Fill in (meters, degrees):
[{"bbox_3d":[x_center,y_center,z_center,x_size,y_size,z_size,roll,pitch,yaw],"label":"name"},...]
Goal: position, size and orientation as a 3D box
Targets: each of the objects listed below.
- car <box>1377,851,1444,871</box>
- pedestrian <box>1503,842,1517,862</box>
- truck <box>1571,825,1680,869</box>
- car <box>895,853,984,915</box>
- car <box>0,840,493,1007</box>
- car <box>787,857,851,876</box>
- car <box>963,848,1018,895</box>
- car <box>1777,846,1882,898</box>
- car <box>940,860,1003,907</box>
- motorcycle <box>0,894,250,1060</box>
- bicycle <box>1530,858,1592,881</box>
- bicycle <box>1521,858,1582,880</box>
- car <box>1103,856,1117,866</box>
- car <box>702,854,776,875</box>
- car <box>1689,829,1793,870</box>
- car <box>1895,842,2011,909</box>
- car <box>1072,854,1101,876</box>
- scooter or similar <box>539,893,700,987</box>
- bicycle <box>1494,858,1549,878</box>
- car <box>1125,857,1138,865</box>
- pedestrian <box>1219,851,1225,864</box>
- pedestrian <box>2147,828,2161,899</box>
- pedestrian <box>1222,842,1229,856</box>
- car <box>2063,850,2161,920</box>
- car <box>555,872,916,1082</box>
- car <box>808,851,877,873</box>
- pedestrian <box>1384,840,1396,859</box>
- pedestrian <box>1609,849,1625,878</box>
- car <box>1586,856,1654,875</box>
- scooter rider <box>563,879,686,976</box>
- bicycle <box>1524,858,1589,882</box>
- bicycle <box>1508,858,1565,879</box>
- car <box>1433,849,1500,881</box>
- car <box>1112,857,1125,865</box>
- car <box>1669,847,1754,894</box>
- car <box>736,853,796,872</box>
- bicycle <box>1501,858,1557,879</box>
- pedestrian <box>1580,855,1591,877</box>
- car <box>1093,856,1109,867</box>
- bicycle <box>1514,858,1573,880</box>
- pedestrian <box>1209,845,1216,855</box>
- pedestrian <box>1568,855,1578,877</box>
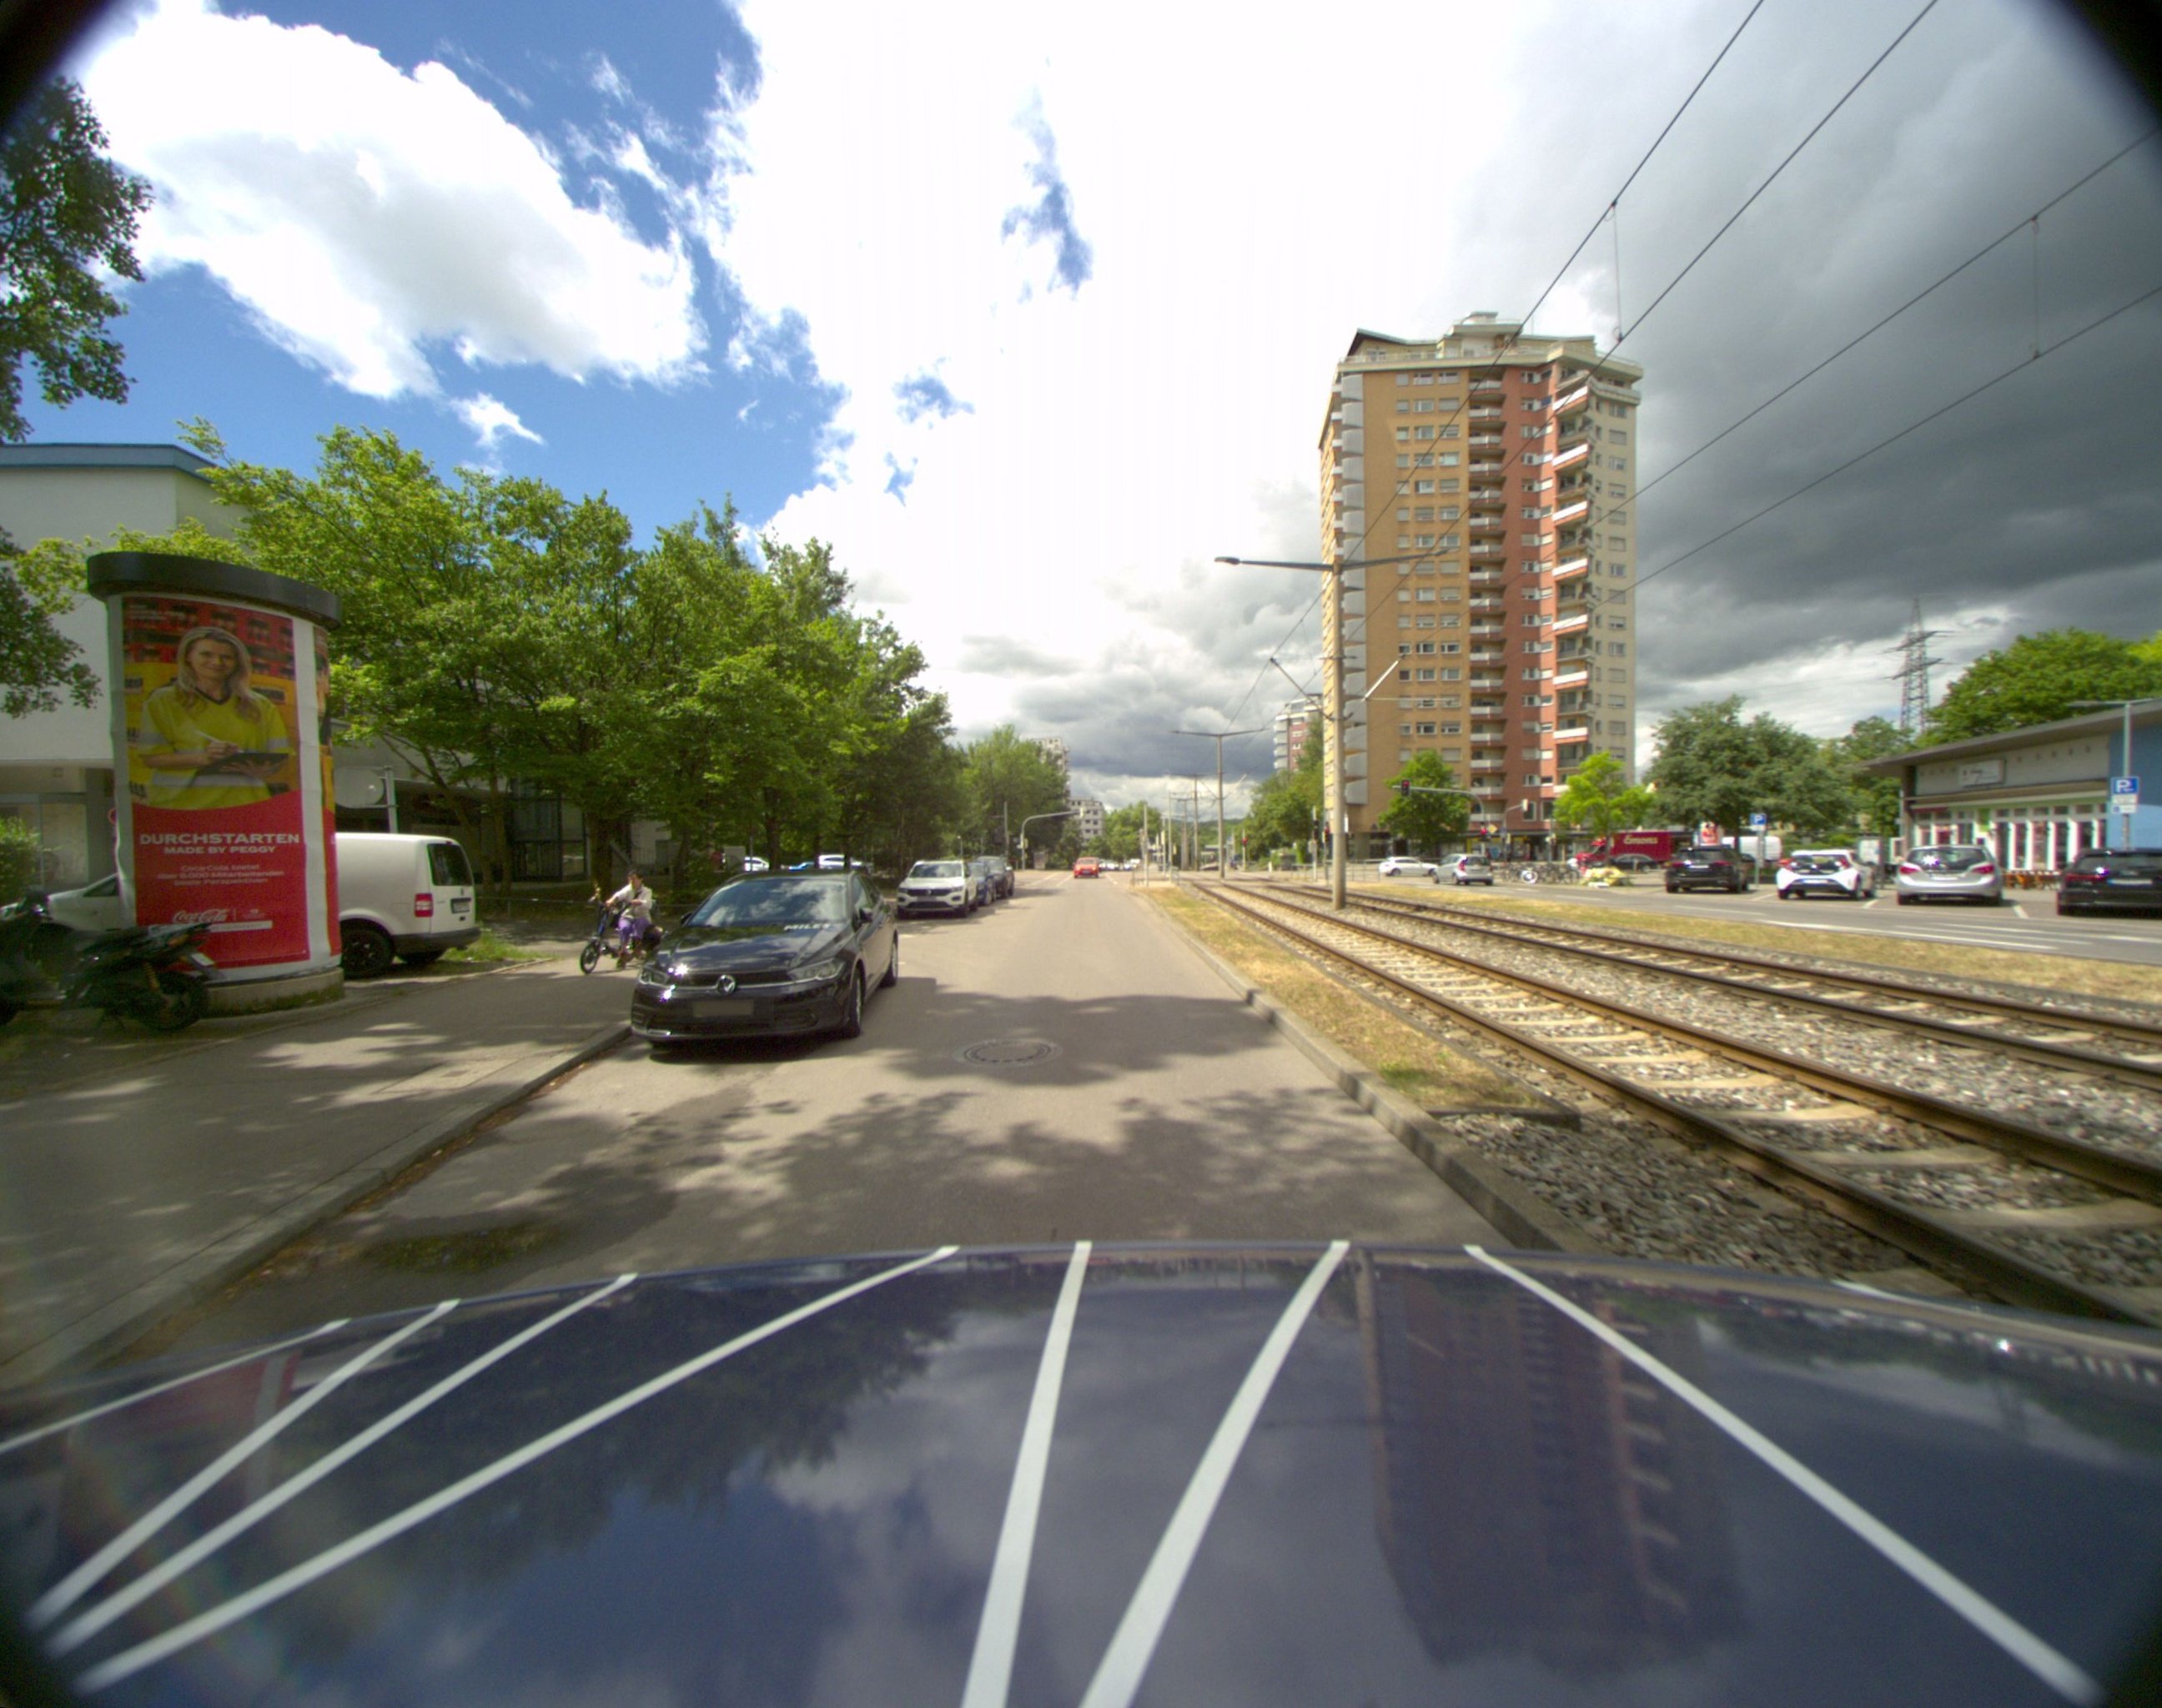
[{"bbox_3d":[24.660,0.517,57.057,4.270,1.442,1.796,0,0,5],"label":"car"},{"bbox_3d":[38.783,-0.180,68.666,0.889,1.801,0.641,0,0,-22],"label":"pedestrian"},{"bbox_3d":[46.149,-0.598,64.614,7.089,3.653,2.549,0,0,10],"label":"truck"},{"bbox_3d":[-3.840,0.758,21.323,1.788,1.556,4.568,0,0,-2],"label":"car"},{"bbox_3d":[-10.263,0.762,9.694,4.004,1.812,1.807,0,0,-21],"label":"car"},{"bbox_3d":[-18.774,0.879,54.631,3.970,1.218,1.912,0,3,-3],"label":"car"},{"bbox_3d":[-3.541,0.649,30.567,1.648,1.752,4.569,0,0,0],"label":"car"},{"bbox_3d":[23.069,0.521,23.396,3.774,1.487,1.742,0,0,-37],"label":"car"},{"bbox_3d":[-3.674,0.957,26.075,1.648,1.449,4.075,0,0,-1],"label":"car"},{"bbox_3d":[-8.090,0.950,6.089,1.802,1.203,0.711,0,0,-20],"label":"motorcycle"},{"bbox_3d":[22.858,0.715,36.206,2.432,1.060,0.705,0,0,4],"label":"bicycle"},{"bbox_3d":[22.882,0.717,36.978,2.432,1.060,0.705,0,0,4],"label":"bicycle"},{"bbox_3d":[3.885,0.935,100.145,1.605,1.207,3.773,0,0,6],"label":"car"},{"bbox_3d":[-24.446,0.747,54.385,4.402,1.407,1.950,0,3,-5],"label":"car"},{"bbox_3d":[54.384,-0.363,62.768,6.294,3.280,2.002,0,0,12],"label":"car"},{"bbox_3d":[23.398,0.535,20.510,4.009,1.622,1.901,0,0,-43],"label":"car"},{"bbox_3d":[0.455,0.746,54.196,1.818,1.483,4.000,-1,1,4],"label":"car"},{"bbox_3d":[-6.180,1.111,10.356,0.892,1.058,2.114,0,-1,0],"label":"scooter or similar"},{"bbox_3d":[23.234,0.728,40.089,2.432,1.060,0.705,0,0,4],"label":"bicycle"},{"bbox_3d":[7.107,0.982,107.143,1.805,1.207,4.023,0,0,5],"label":"car"},{"bbox_3d":[20.492,0.483,110.454,0.770,1.920,0.573,0,0,3],"label":"pedestrian"},{"bbox_3d":[28.246,0.244,19.641,0.893,1.811,0.769,-1,1,-38],"label":"pedestrian"},{"bbox_3d":[19.751,-0.679,103.579,0.865,1.763,0.747,0,0,4],"label":"pedestrian"},{"bbox_3d":[22.729,0.627,16.340,4.008,1.375,1.901,0,0,-38],"label":"car"},{"bbox_3d":[-2.912,0.935,7.406,1.820,1.440,3.826,0,0,-1],"label":"car"},{"bbox_3d":[-18.083,0.592,57.714,4.654,1.583,1.922,0,3,-3],"label":"car"},{"bbox_3d":[31.344,-0.447,77.020,0.920,1.923,0.854,0,0,4],"label":"pedestrian"},{"bbox_3d":[29.986,0.531,42.509,0.417,1.633,0.601,0,0,1],"label":"pedestrian"},{"bbox_3d":[43.606,0.954,61.578,3.993,1.485,2.002,0,0,11],"label":"car"},{"bbox_3d":[-6.184,0.961,10.374,0.887,1.213,1.282,0,0,0],"label":"scooter rider"},{"bbox_3d":[21.766,0.726,34.798,2.432,1.028,0.717,-2,0,4],"label":"bicycle"},{"bbox_3d":[23.061,0.723,38.514,2.432,1.060,0.705,0,0,4],"label":"bicycle"},{"bbox_3d":[19.316,0.526,38.210,1.822,1.524,3.756,0,0,7],"label":"car"},{"bbox_3d":[5.448,0.974,110.639,1.606,1.207,3.771,0,0,0],"label":"car"},{"bbox_3d":[23.177,0.571,27.880,4.009,1.582,1.927,0,0,-44],"label":"car"},{"bbox_3d":[-23.887,0.641,57.678,3.897,1.405,1.607,0,3,-5],"label":"car"},{"bbox_3d":[23.144,0.726,39.310,2.432,1.060,0.705,0,0,4],"label":"bicycle"},{"bbox_3d":[34.210,0.814,51.547,0.571,1.464,0.527,1,0,30],"label":"pedestrian"},{"bbox_3d":[2.280,0.832,86.436,1.605,1.207,3.773,0,0,4],"label":"car"},{"bbox_3d":[22.965,0.720,37.735,2.432,1.060,0.705,0,0,4],"label":"bicycle"},{"bbox_3d":[19.495,-0.589,112.590,0.865,1.597,0.747,0,0,4],"label":"pedestrian"},{"bbox_3d":[33.455,0.824,51.674,0.517,1.464,0.527,1,0,30],"label":"pedestrian"}]
